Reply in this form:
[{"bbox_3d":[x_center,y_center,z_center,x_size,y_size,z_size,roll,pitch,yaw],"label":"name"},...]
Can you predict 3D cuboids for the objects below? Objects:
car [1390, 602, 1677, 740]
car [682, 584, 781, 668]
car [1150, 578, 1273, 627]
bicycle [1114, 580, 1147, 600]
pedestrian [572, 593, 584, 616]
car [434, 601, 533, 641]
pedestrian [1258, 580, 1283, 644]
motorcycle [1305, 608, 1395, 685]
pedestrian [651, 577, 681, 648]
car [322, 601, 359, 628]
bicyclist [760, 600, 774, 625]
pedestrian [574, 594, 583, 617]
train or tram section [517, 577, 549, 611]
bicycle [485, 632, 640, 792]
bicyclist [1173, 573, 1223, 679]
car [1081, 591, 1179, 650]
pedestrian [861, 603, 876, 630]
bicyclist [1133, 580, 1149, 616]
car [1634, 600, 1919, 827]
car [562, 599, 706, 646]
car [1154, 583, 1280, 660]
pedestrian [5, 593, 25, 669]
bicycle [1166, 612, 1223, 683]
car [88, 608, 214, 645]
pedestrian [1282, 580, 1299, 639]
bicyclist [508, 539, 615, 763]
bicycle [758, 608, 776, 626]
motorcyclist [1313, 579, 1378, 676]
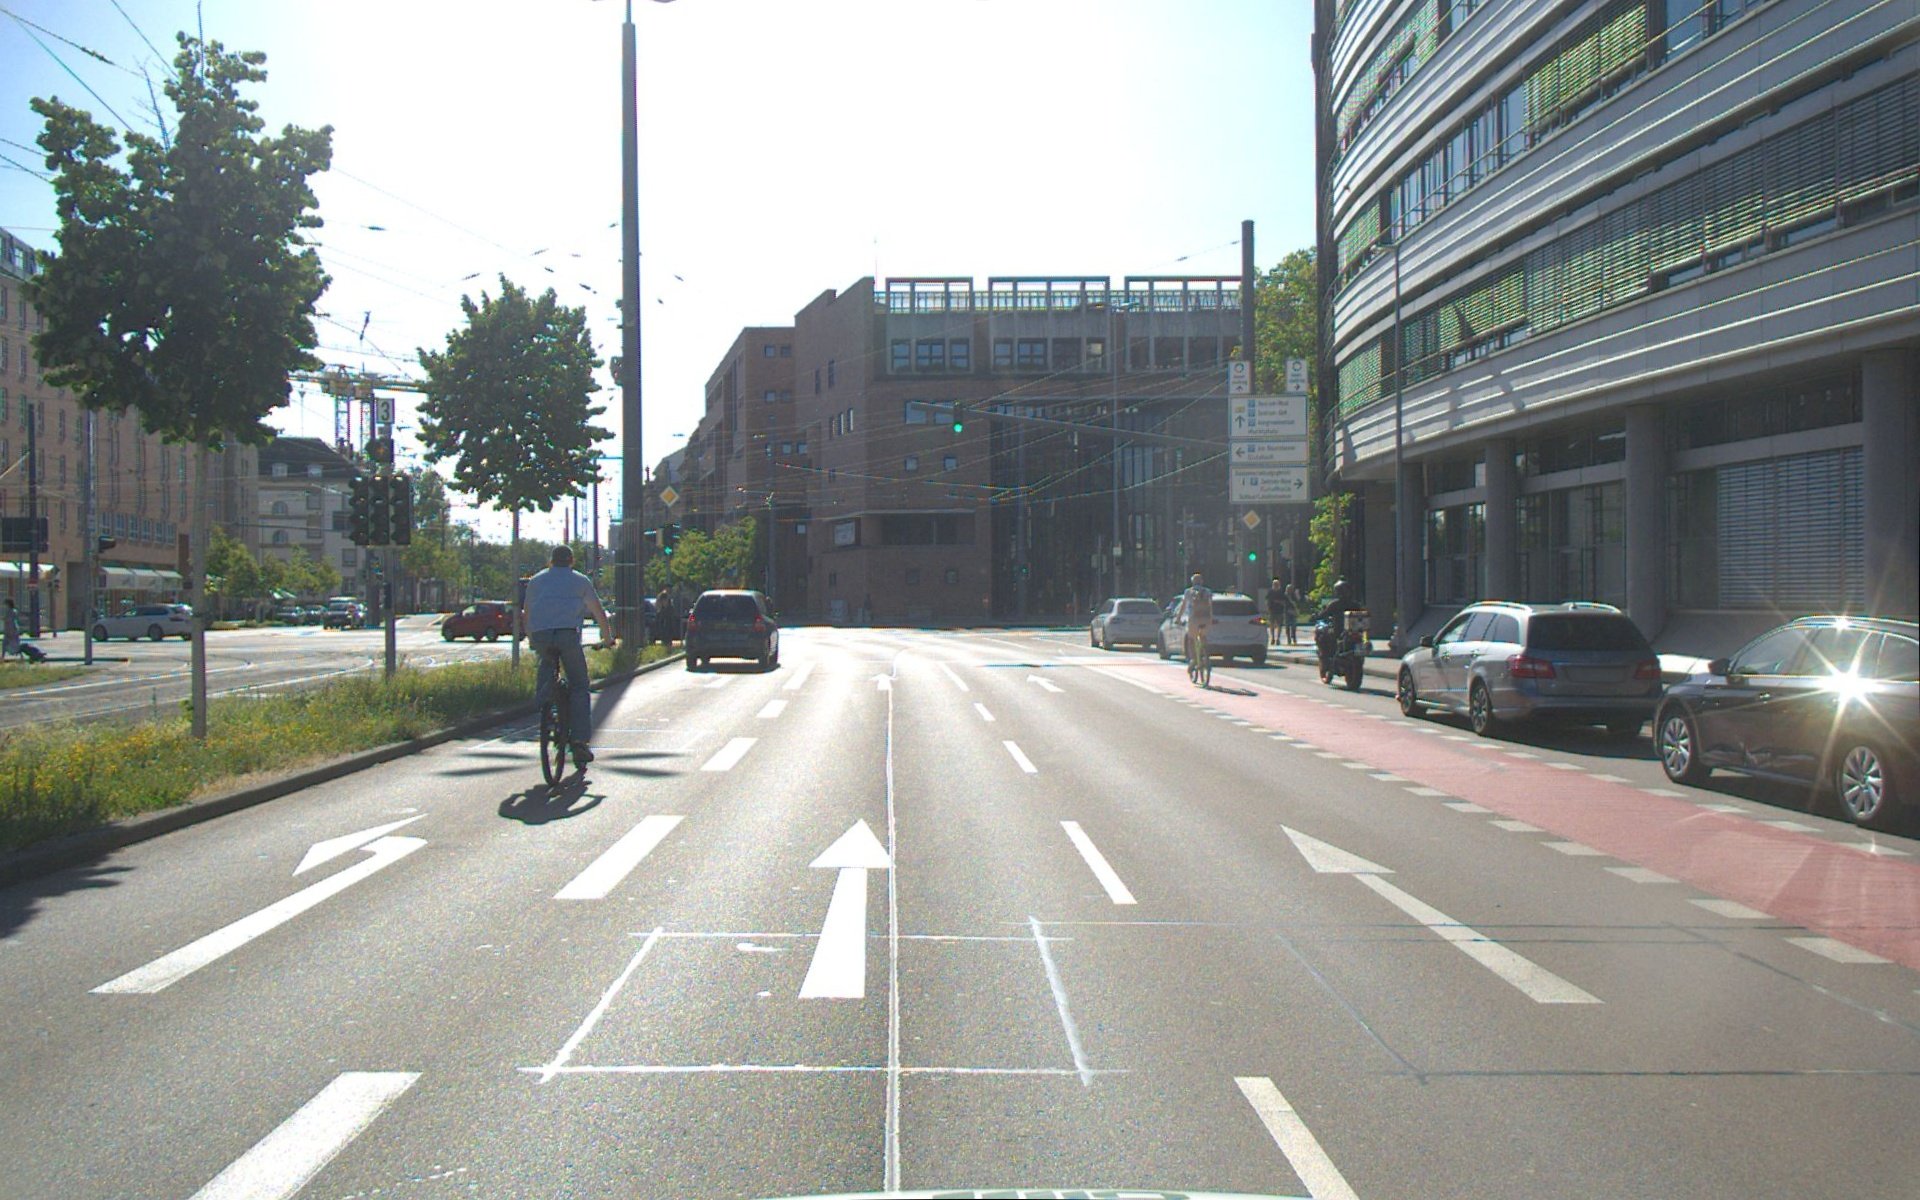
[{"bbox_3d":[6.749,0.762,20.068,1.687,1.420,4.786,0,0,-2],"label":"car"},{"bbox_3d":[-4.587,0.487,33.641,1.692,1.591,3.675,-1,0,-3],"label":"car"},{"bbox_3d":[8.960,0.088,59.050,3.922,1.611,1.904,1,2,-16],"label":"car"},{"bbox_3d":[9.064,-0.521,87.856,1.646,1.012,0.668,-1,0,-24],"label":"bicycle"},{"bbox_3d":[-28.624,0.343,123.957,0.710,1.765,0.595,-1,0,-34],"label":"pedestrian"},{"bbox_3d":[-18.029,0.795,62.578,3.507,1.474,1.655,-1,0,30],"label":"car"},{"bbox_3d":[8.997,0.336,47.926,0.624,1.829,0.609,-2,1,8],"label":"pedestrian"},{"bbox_3d":[6.477,0.741,27.593,0.812,1.222,2.389,0,0,-3],"label":"motorcycle"},{"bbox_3d":[-7.510,0.307,42.243,0.658,1.783,0.766,-1,0,-15],"label":"pedestrian"},{"bbox_3d":[-37.451,0.835,100.052,1.583,1.422,3.904,-5,2,-15],"label":"car"},{"bbox_3d":[-10.469,0.665,89.738,0.583,1.359,0.929,0,0,-17],"label":"bicyclist"},{"bbox_3d":[-27.787,0.417,120.467,0.530,1.684,0.703,-1,0,-17],"label":"pedestrian"},{"bbox_3d":[-40.809,-0.579,158.383,2.286,3.055,13.120,-1,0,-12],"label":"train or tram section"},{"bbox_3d":[-3.158,0.841,13.393,0.673,1.088,2.696,1,0,-2],"label":"bicycle"},{"bbox_3d":[4.061,0.429,28.306,0.636,1.783,1.045,-1,1,-3],"label":"bicyclist"},{"bbox_3d":[4.873,0.556,47.919,1.870,1.568,4.131,1,1,-8],"label":"car"},{"bbox_3d":[-5.354,0.974,96.869,0.608,1.590,0.982,-1,0,-17],"label":"pedestrian"},{"bbox_3d":[9.645,-0.088,88.036,0.597,1.917,0.646,-1,0,-22],"label":"bicyclist"},{"bbox_3d":[7.070,0.753,12.660,1.687,1.447,4.634,-1,0,-3],"label":"car"},{"bbox_3d":[-10.675,0.730,54.137,4.415,1.474,1.731,-1,0,23],"label":"car"},{"bbox_3d":[5.794,0.446,37.764,1.869,1.611,4.133,1,1,-6],"label":"car"},{"bbox_3d":[-23.458,0.755,41.042,0.382,1.863,0.458,-1,0,-34],"label":"pedestrian"},{"bbox_3d":[4.050,0.800,28.659,0.636,1.129,1.757,-1,1,-3],"label":"bicycle"},{"bbox_3d":[-33.012,1.071,67.539,4.304,1.405,2.068,-1,0,14],"label":"car"},{"bbox_3d":[9.570,0.266,47.939,0.418,1.674,0.563,-2,1,9],"label":"pedestrian"},{"bbox_3d":[-3.141,0.387,13.104,0.605,1.699,1.019,1,0,-2],"label":"bicyclist"},{"bbox_3d":[-10.523,0.920,89.960,0.593,1.002,2.304,0,0,-17],"label":"bicycle"},{"bbox_3d":[6.421,0.452,27.597,0.812,1.588,0.941,0,0,-3],"label":"motorcyclist"}]
